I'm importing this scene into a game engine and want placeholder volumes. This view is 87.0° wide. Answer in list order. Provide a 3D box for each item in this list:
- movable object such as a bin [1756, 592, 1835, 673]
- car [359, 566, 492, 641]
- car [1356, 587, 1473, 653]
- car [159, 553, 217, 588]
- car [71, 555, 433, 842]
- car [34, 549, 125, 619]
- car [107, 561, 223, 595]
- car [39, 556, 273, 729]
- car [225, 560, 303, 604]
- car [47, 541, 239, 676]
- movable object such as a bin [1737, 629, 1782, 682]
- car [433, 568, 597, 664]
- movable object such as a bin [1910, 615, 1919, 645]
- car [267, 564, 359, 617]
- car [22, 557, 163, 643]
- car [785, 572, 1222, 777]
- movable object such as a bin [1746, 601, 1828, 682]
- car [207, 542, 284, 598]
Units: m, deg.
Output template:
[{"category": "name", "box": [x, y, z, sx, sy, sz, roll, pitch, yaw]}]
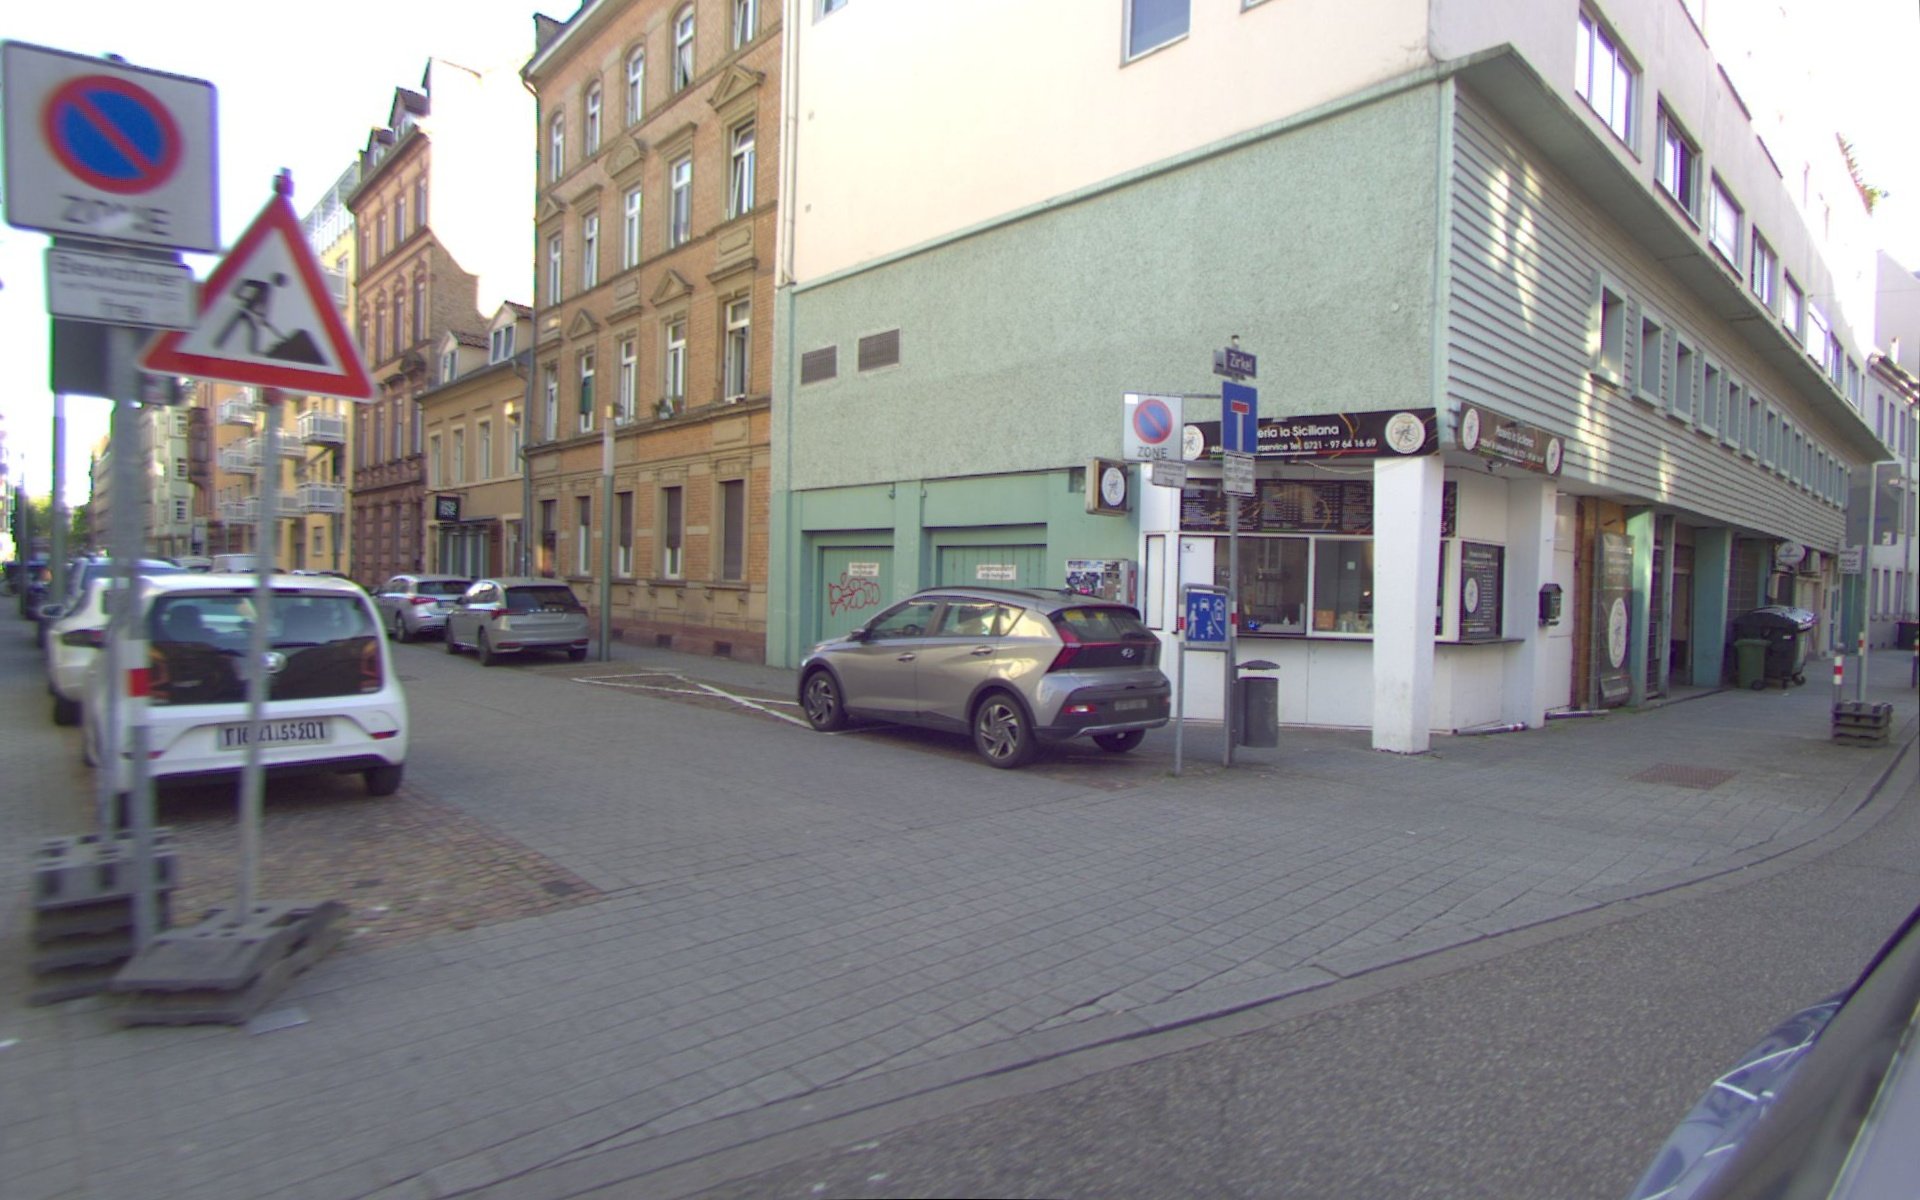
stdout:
[{"category": "movable object such as a bin", "box": [16.988, 0.625, 20.580, 1.525, 1.497, 0.983, -2, 4, -42]}, {"category": "car", "box": [-12.004, -0.005, 22.623, 1.753, 1.500, 3.961, -1, 3, -42]}, {"category": "car", "box": [11.461, 0.461, 25.436, 3.343, 1.487, 1.584, 1, 2, -45]}, {"category": "car", "box": [-41.699, -1.625, 54.630, 2.124, 1.816, 4.649, -2, 3, -42]}, {"category": "car", "box": [-5.217, 0.465, 7.266, 1.680, 1.500, 3.550, 0, 2, -42]}, {"category": "car", "box": [-23.966, -0.421, 27.585, 1.758, 1.739, 4.335, 0, 0, -41]}, {"category": "car", "box": [-35.694, -1.020, 45.548, 3.701, 1.476, 1.779, -1, 2, -19]}, {"category": "car", "box": [-8.771, 0.307, 10.897, 1.680, 1.500, 4.216, 0, 1, -42]}, {"category": "car", "box": [-26.669, -0.738, 38.726, 1.990, 1.566, 3.939, -2, 3, -42]}, {"category": "car", "box": [-12.350, 0.092, 15.212, 1.759, 1.739, 4.025, 5, -2, -44]}, {"category": "movable object such as a bin", "box": [15.009, 1.037, 18.998, 0.514, 0.910, 0.557, -2, 4, -42]}, {"category": "car", "box": [-8.159, 0.189, 18.362, 1.644, 1.500, 4.178, -2, 3, -40]}, {"category": "movable object such as a bin", "box": [35.634, 1.120, 37.401, 0.696, 1.063, 0.608, 1, 5, -40]}, {"category": "car", "box": [-19.788, -0.310, 30.877, 1.753, 1.500, 3.960, -2, 2, -42]}, {"category": "car", "box": [-16.595, -0.016, 19.285, 1.759, 1.448, 4.175, 0, 0, -45]}, {"category": "car", "box": [0.236, 0.520, 9.748, 1.834, 1.500, 4.083, 0, 2, -43]}, {"category": "movable object such as a bin", "box": [15.873, 0.768, 19.416, 1.298, 1.401, 0.983, -2, 4, -42]}, {"category": "car", "box": [-30.035, -1.226, 42.472, 2.124, 2.166, 4.648, -2, 1, -42]}]
